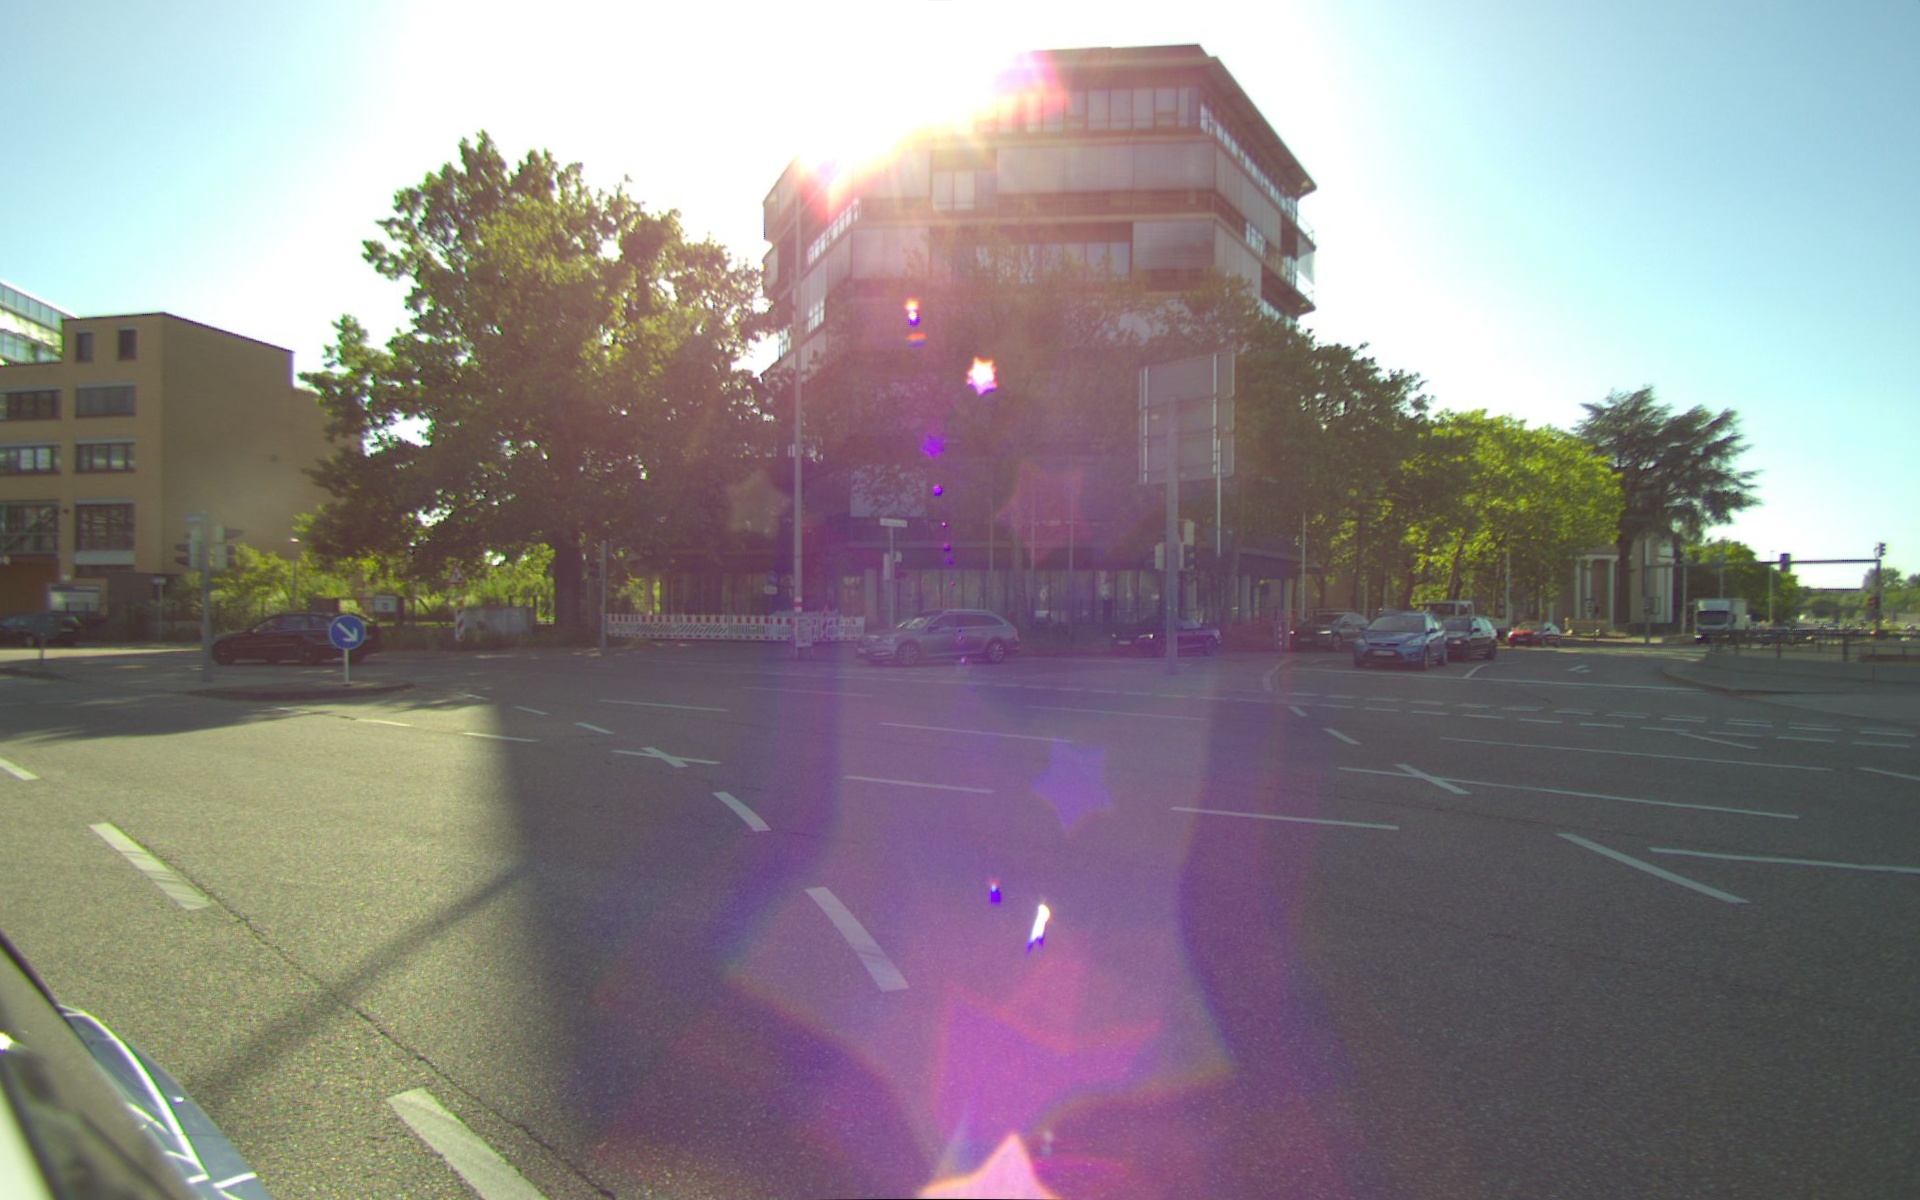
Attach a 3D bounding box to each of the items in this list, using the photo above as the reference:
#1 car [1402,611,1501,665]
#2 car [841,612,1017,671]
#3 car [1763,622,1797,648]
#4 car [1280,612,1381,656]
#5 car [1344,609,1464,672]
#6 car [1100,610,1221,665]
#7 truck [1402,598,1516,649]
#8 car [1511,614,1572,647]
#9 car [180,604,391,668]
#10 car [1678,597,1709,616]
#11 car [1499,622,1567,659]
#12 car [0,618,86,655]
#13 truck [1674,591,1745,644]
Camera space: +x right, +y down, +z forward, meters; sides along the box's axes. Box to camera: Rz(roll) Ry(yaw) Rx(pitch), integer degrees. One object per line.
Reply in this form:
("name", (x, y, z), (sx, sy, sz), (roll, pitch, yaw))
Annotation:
("car", (15.700, 1.146, 32.200), (1.949, 1.552, 4.401), (-1, -1, 38))
("car", (-0.786, 1.043, 27.088), (4.435, 1.368, 1.885), (0, 1, -36))
("car", (61.677, 2.624, 76.103), (1.741, 1.696, 3.995), (2, 2, 43))
("car", (15.143, 1.334, 41.289), (4.437, 1.657, 1.884), (0, -1, -39))
("car", (12.094, 1.034, 27.427), (1.949, 1.552, 4.401), (-1, -1, 38))
("car", (6.692, 1.187, 33.579), (4.131, 1.713, 1.818), (0, -1, -41))
("truck", (24.650, 1.095, 49.828), (7.395, 2.378, 2.168), (0, -1, -39))
("car", (32.448, 1.680, 56.421), (4.133, 1.713, 1.817), (0, -1, -43))
("car", (-18.117, 0.947, 27.256), (4.732, 1.634, 1.945), (0, -1, 10))
("car", (66.247, 0.584, 91.460), (1.807, 1.713, 4.154), (-1, -1, 30))
("car", (23.094, 1.602, 40.742), (1.783, 1.346, 4.031), (-1, -1, 38))
("car", (-40.664, 1.602, 44.152), (4.337, 1.520, 1.652), (-1, -3, 15))
("truck", (59.374, 1.312, 80.079), (3.851, 3.825, 9.217), (-1, 0, 41))
